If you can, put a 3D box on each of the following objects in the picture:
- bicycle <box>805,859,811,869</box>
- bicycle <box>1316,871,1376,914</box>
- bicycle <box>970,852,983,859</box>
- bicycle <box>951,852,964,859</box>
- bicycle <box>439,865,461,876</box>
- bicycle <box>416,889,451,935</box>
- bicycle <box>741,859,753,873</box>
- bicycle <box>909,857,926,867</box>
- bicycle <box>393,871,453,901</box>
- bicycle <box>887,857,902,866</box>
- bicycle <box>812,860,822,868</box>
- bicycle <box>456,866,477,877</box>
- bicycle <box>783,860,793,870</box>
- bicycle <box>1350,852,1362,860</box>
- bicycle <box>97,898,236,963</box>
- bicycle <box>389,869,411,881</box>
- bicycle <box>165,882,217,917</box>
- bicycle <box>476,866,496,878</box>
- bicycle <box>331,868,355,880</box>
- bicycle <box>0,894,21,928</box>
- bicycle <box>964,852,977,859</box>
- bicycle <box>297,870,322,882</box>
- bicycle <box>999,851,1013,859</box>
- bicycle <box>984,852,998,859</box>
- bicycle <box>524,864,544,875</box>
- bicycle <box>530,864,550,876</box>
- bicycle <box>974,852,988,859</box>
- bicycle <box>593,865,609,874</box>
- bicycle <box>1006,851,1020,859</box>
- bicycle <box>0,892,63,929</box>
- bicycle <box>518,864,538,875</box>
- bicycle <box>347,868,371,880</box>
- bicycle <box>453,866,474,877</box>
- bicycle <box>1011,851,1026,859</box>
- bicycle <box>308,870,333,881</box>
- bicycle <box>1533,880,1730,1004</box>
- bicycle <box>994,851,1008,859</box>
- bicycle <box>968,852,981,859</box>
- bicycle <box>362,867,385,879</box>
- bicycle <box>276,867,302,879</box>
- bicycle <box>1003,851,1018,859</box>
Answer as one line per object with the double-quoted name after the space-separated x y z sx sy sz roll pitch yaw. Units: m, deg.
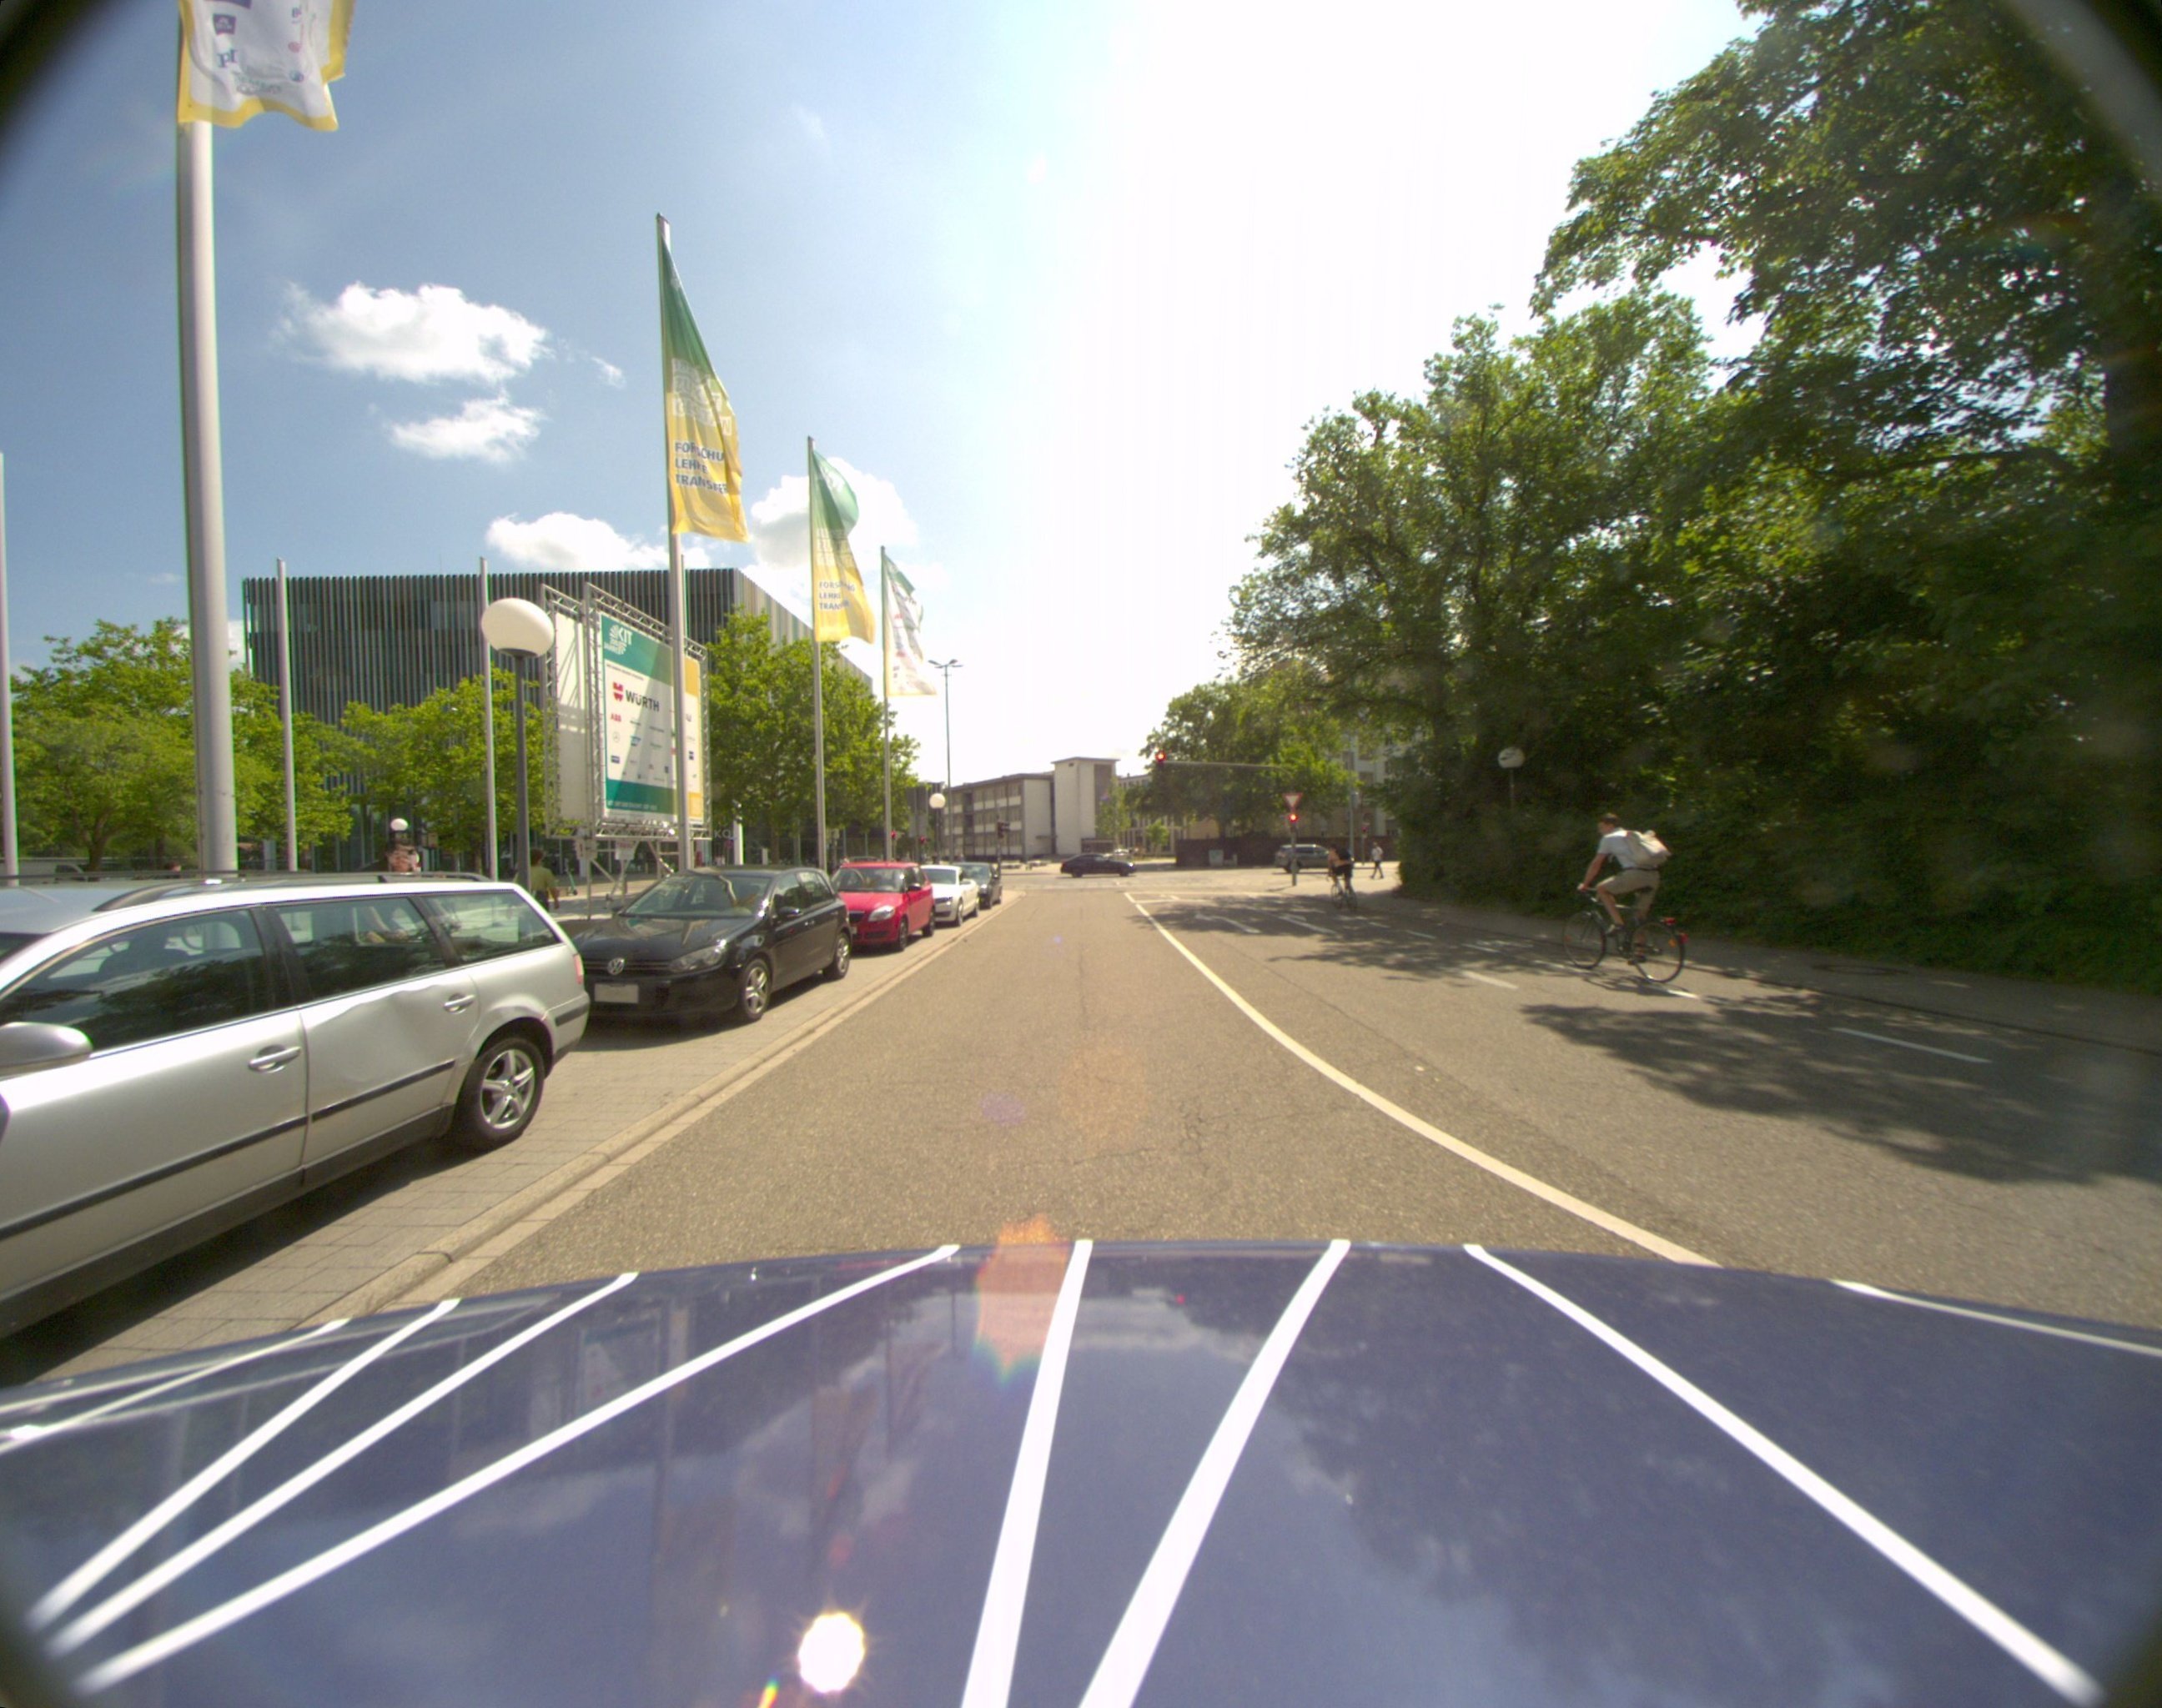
-26.428 0.948 73.540 0.529 0.950 1.770 -2 2 -19 "bicycle"
6.993 0.989 20.208 0.795 0.983 2.209 -1 1 -1 "bicycle"
-14.588 0.194 105.870 1.776 0.950 0.527 -1 3 -28 "bicycle"
-18.126 0.250 111.702 1.776 0.950 0.527 -1 3 -28 "bicycle"
-58.597 1.550 70.591 0.373 0.950 1.548 -1 3 16 "bicycle"
-17.273 1.520 20.287 0.609 1.131 1.584 -1 -1 -38 "bicycle"
-30.830 1.093 70.100 0.373 1.181 1.545 0 3 -1 "bicycle"
-15.292 0.719 71.118 1.768 0.950 0.530 0 2 38 "bicycle"
-28.006 1.362 32.364 2.028 1.176 0.800 -1 2 11 "bicycle"
-19.309 0.767 78.678 1.768 0.950 0.530 0 2 38 "bicycle"
-25.689 0.996 73.894 0.530 0.760 1.769 -2 2 -32 "bicycle"
-56.987 1.588 70.427 0.373 0.950 1.548 -1 3 16 "bicycle"
-28.002 1.065 72.654 0.374 0.950 1.768 -2 2 -38 "bicycle"
23.614 0.169 65.240 0.409 0.678 1.005 -2 3 -25 "bicycle"
-18.034 1.478 15.043 0.682 1.131 1.692 -1 -1 0 "bicycle"
-63.297 1.936 70.622 0.433 0.950 1.784 -1 2 0 "bicycle"
-32.125 1.626 27.462 0.605 1.093 1.763 -3 3 -30 "bicycle"
-54.989 1.659 70.234 0.373 0.950 1.548 -1 3 16 "bicycle"
-68.416 1.875 70.474 0.433 0.950 1.784 -1 2 0 "bicycle"
-31.350 1.665 21.660 0.605 0.949 1.763 -3 1 -30 "bicycle"
-15.719 0.154 108.007 1.776 0.950 0.527 -1 3 -28 "bicycle"
-71.626 2.054 70.551 0.433 0.950 1.784 -1 2 0 "bicycle"
-9.897 0.135 99.962 1.776 0.950 0.527 -1 3 -28 "bicycle"
-12.207 0.167 102.775 1.776 0.950 0.527 -1 3 -28 "bicycle"
-50.748 1.424 70.495 0.373 0.950 1.548 -1 3 16 "bicycle"
-50.159 1.487 70.435 0.373 0.950 1.548 -1 3 16 "bicycle"
-13.812 0.205 104.814 1.776 0.950 0.527 -1 3 -28 "bicycle"
-44.891 1.475 71.038 0.373 0.771 1.546 -1 2 4 "bicycle"
-8.758 0.097 97.984 1.776 0.950 0.527 -1 3 -28 "bicycle"
-30.652 1.636 22.065 0.605 0.949 1.763 -3 1 -30 "bicycle"
-51.415 1.443 70.621 0.373 0.950 1.548 -1 3 16 "bicycle"
-66.950 1.834 70.486 0.433 0.950 1.784 -1 2 0 "bicycle"
-57.373 1.593 70.607 0.373 0.950 1.548 -1 3 16 "bicycle"
-7.946 0.125 96.939 1.776 0.950 0.528 -1 3 -25 "bicycle"
-70.656 1.993 70.585 0.433 0.950 1.784 -1 2 0 "bicycle"
6.317 0.943 8.921 0.694 1.164 2.209 -1 1 -1 "bicycle"
-10.650 0.145 101.052 1.776 0.950 0.527 -1 3 -28 "bicycle"
-14.949 0.200 106.688 1.776 0.950 0.527 -1 3 -28 "bicycle"
-65.829 1.767 70.707 0.433 0.950 1.784 -1 2 0 "bicycle"
-73.533 1.757 70.569 0.433 0.950 1.784 -1 2 0 "bicycle"
-9.178 0.115 98.953 1.776 0.950 0.527 -1 3 -28 "bicycle"
